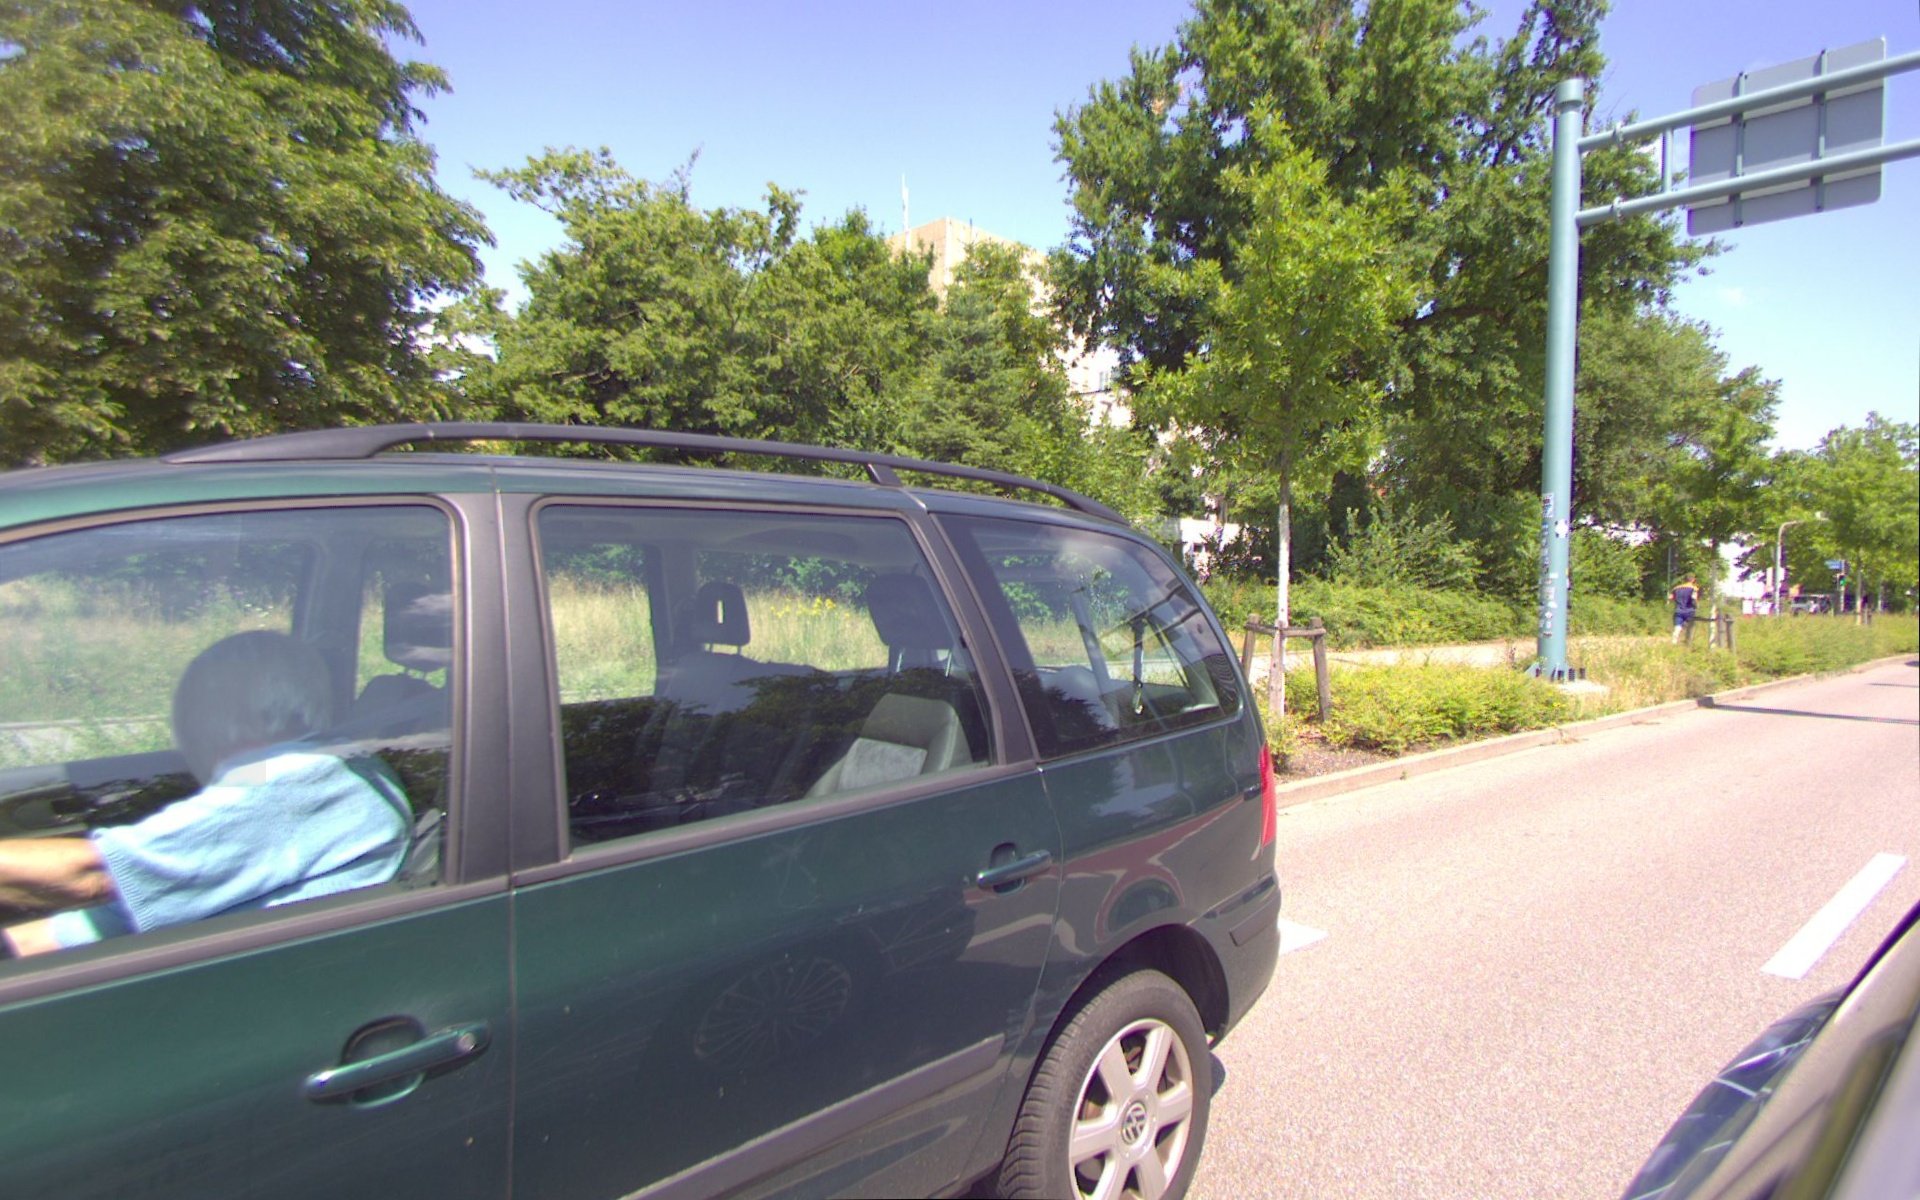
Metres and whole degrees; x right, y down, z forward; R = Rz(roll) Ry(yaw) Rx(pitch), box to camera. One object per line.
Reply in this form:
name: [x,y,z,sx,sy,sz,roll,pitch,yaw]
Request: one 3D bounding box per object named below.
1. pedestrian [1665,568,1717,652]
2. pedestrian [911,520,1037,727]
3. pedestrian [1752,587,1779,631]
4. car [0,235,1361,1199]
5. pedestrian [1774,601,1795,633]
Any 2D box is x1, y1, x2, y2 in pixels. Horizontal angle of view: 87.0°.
pedestrian: [16.042,0.212,22.223,0.869,1.787,0.640,1,1,-35]
pedestrian: [0.116,0.190,8.877,0.799,1.705,0.762,1,1,-29]
pedestrian: [38.184,0.429,47.973,0.839,2.063,0.892,1,0,31]
car: [-1.138,0.526,1.962,4.315,1.737,1.804,0,-1,-41]
pedestrian: [43.920,0.896,53.923,0.762,1.630,0.756,2,0,33]
